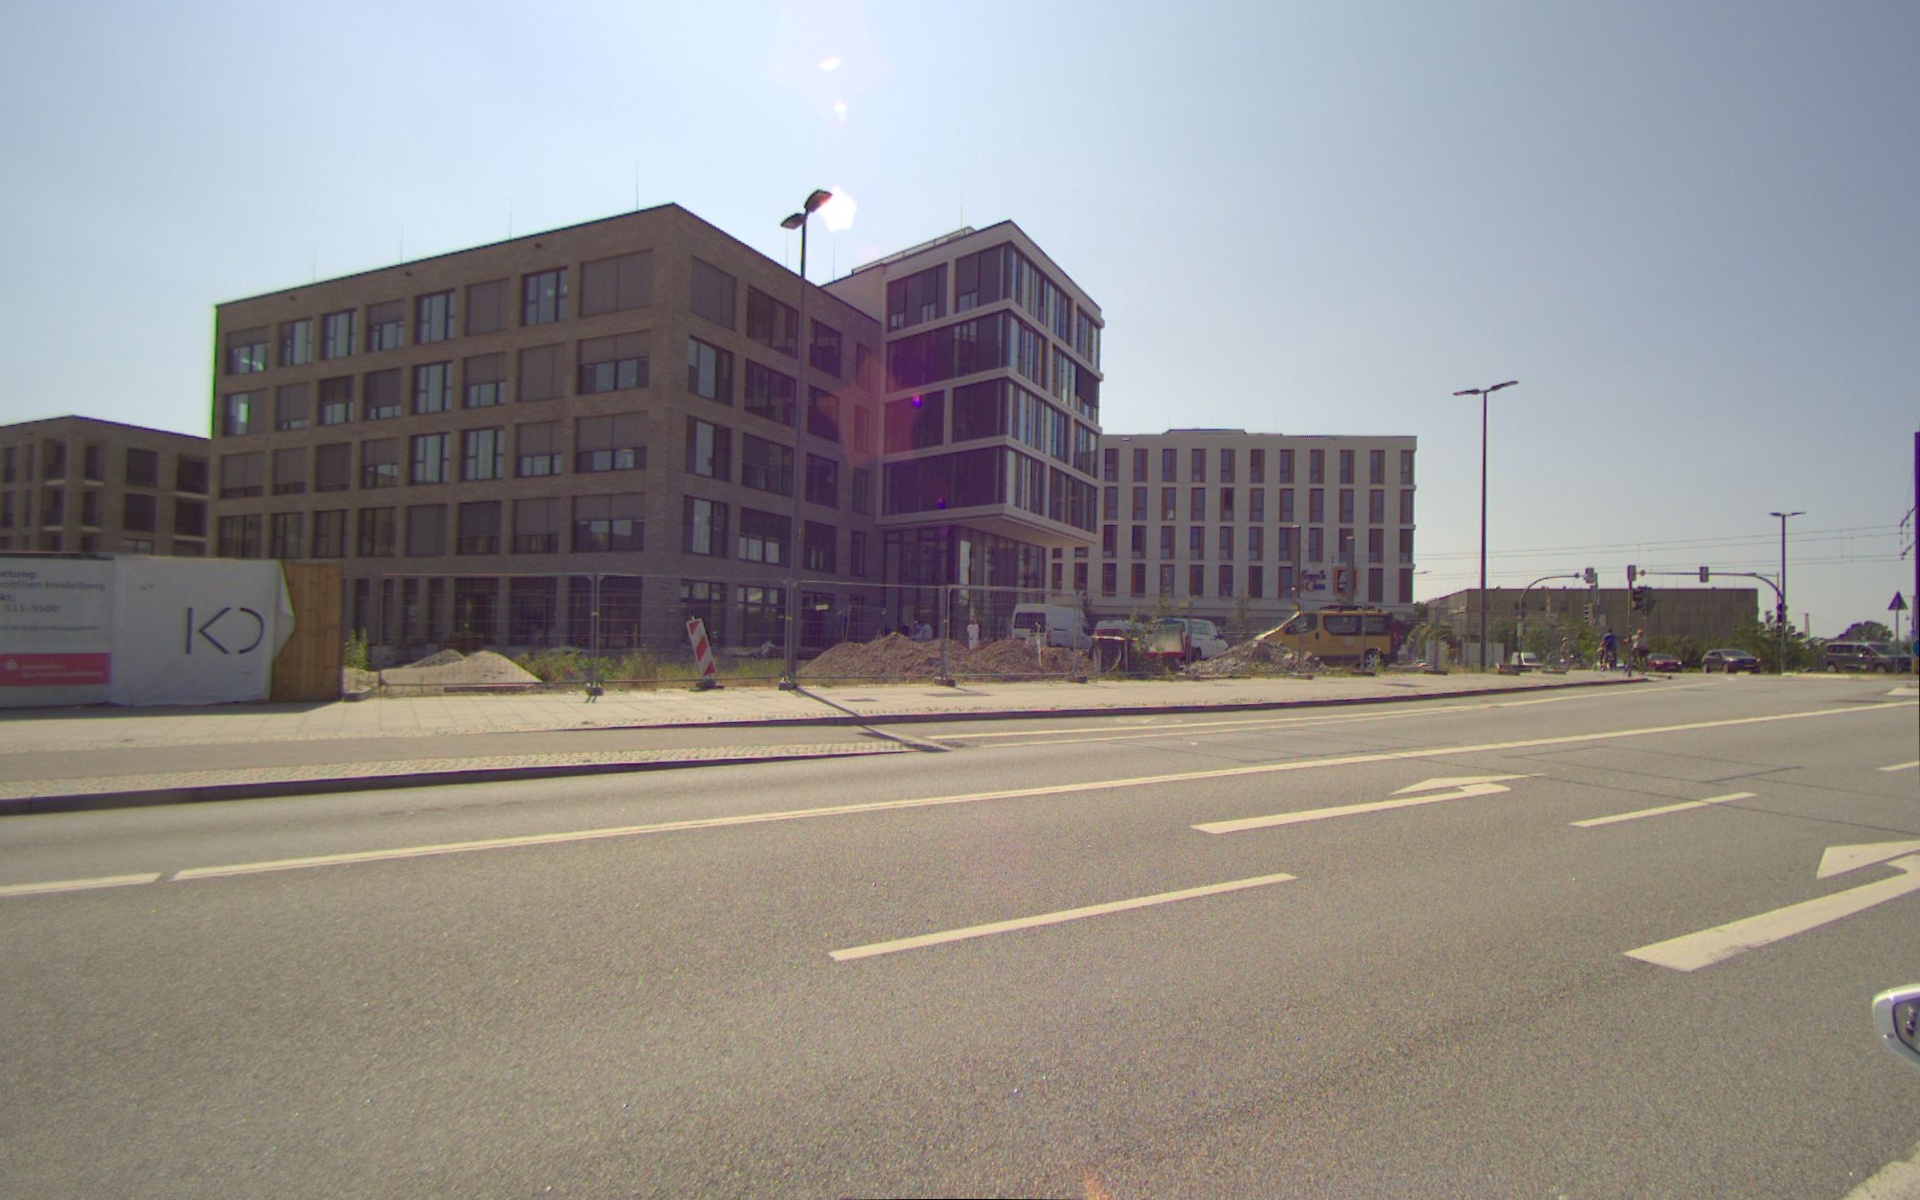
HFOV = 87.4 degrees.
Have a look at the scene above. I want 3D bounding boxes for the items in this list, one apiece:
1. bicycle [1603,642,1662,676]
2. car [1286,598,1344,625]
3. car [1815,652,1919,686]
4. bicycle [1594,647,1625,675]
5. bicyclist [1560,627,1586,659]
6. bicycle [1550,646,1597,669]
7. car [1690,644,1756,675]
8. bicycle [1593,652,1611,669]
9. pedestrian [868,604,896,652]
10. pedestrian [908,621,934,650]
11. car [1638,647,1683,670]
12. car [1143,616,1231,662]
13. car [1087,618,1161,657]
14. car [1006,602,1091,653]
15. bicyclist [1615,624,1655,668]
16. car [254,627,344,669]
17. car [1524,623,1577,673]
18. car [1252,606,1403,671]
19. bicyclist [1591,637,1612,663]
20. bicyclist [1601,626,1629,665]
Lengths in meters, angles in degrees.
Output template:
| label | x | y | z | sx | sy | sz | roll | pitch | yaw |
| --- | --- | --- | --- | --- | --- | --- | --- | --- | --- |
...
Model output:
| label | x | y | z | sx | sy | sz | roll | pitch | yaw |
| --- | --- | --- | --- | --- | --- | --- | --- | --- | --- |
| bicycle | 25.384 | 2.224 | 37.971 | 0.664 | 1.142 | 2.366 | 2 | 0 | 1 |
| car | 28.936 | 0.903 | 81.960 | 1.986 | 2.040 | 3.949 | 2 | 0 | -43 |
| car | 48.677 | 3.673 | 53.692 | 1.962 | 1.475 | 4.483 | 2 | 0 | -4 |
| bicycle | 27.827 | 2.601 | 43.066 | 0.715 | 1.148 | 2.530 | -5 | -4 | 26 |
| bicyclist | 30.168 | 2.120 | 49.440 | 0.828 | 1.522 | 0.658 | 2 | 0 | -5 |
| bicycle | 30.201 | 2.804 | 49.477 | 0.594 | 1.020 | 2.511 | 3 | -2 | -4 |
| car | 49.512 | 3.812 | 65.263 | 1.683 | 1.764 | 4.215 | 2 | 0 | 11 |
| bicycle | 29.767 | 2.801 | 46.580 | 0.506 | 0.701 | 2.250 | 1 | -1 | 28 |
| pedestrian | -3.360 | 1.201 | 43.271 | 0.949 | 2.040 | 0.940 | 2 | 0 | -17 |
| pedestrian | -1.924 | 1.742 | 49.406 | 1.099 | 1.391 | 0.742 | 2 | 0 | -17 |
| car | 52.864 | 4.410 | 75.905 | 1.651 | 1.475 | 4.001 | 2 | 0 | 18 |
| car | 9.583 | 1.614 | 42.153 | 1.969 | 1.730 | 4.546 | 2 | 0 | 35 |
| car | 7.197 | 1.599 | 43.750 | 1.773 | 1.528 | 3.991 | 2 | 0 | 31 |
| car | 3.996 | 1.219 | 44.690 | 2.175 | 2.083 | 4.164 | 2 | 0 | 30 |
| bicyclist | 25.391 | 1.723 | 37.798 | 0.806 | 1.589 | 0.948 | 2 | 0 | 2 |
| car | -30.414 | 2.162 | 46.217 | 3.708 | 1.675 | 1.834 | 2 | 0 | 26 |
| car | 26.256 | 2.082 | 44.731 | 1.644 | 2.040 | 3.996 | 2 | 0 | 26 |
| car | 12.236 | 1.253 | 33.736 | 4.395 | 1.915 | 2.001 | 2 | 0 | 8 |
| bicyclist | 29.776 | 2.311 | 46.632 | 0.717 | 1.190 | 0.658 | 1 | -2 | 24 |
| bicyclist | 27.960 | 1.934 | 42.908 | 0.847 | 1.580 | 0.824 | 2 | 0 | 26 |
